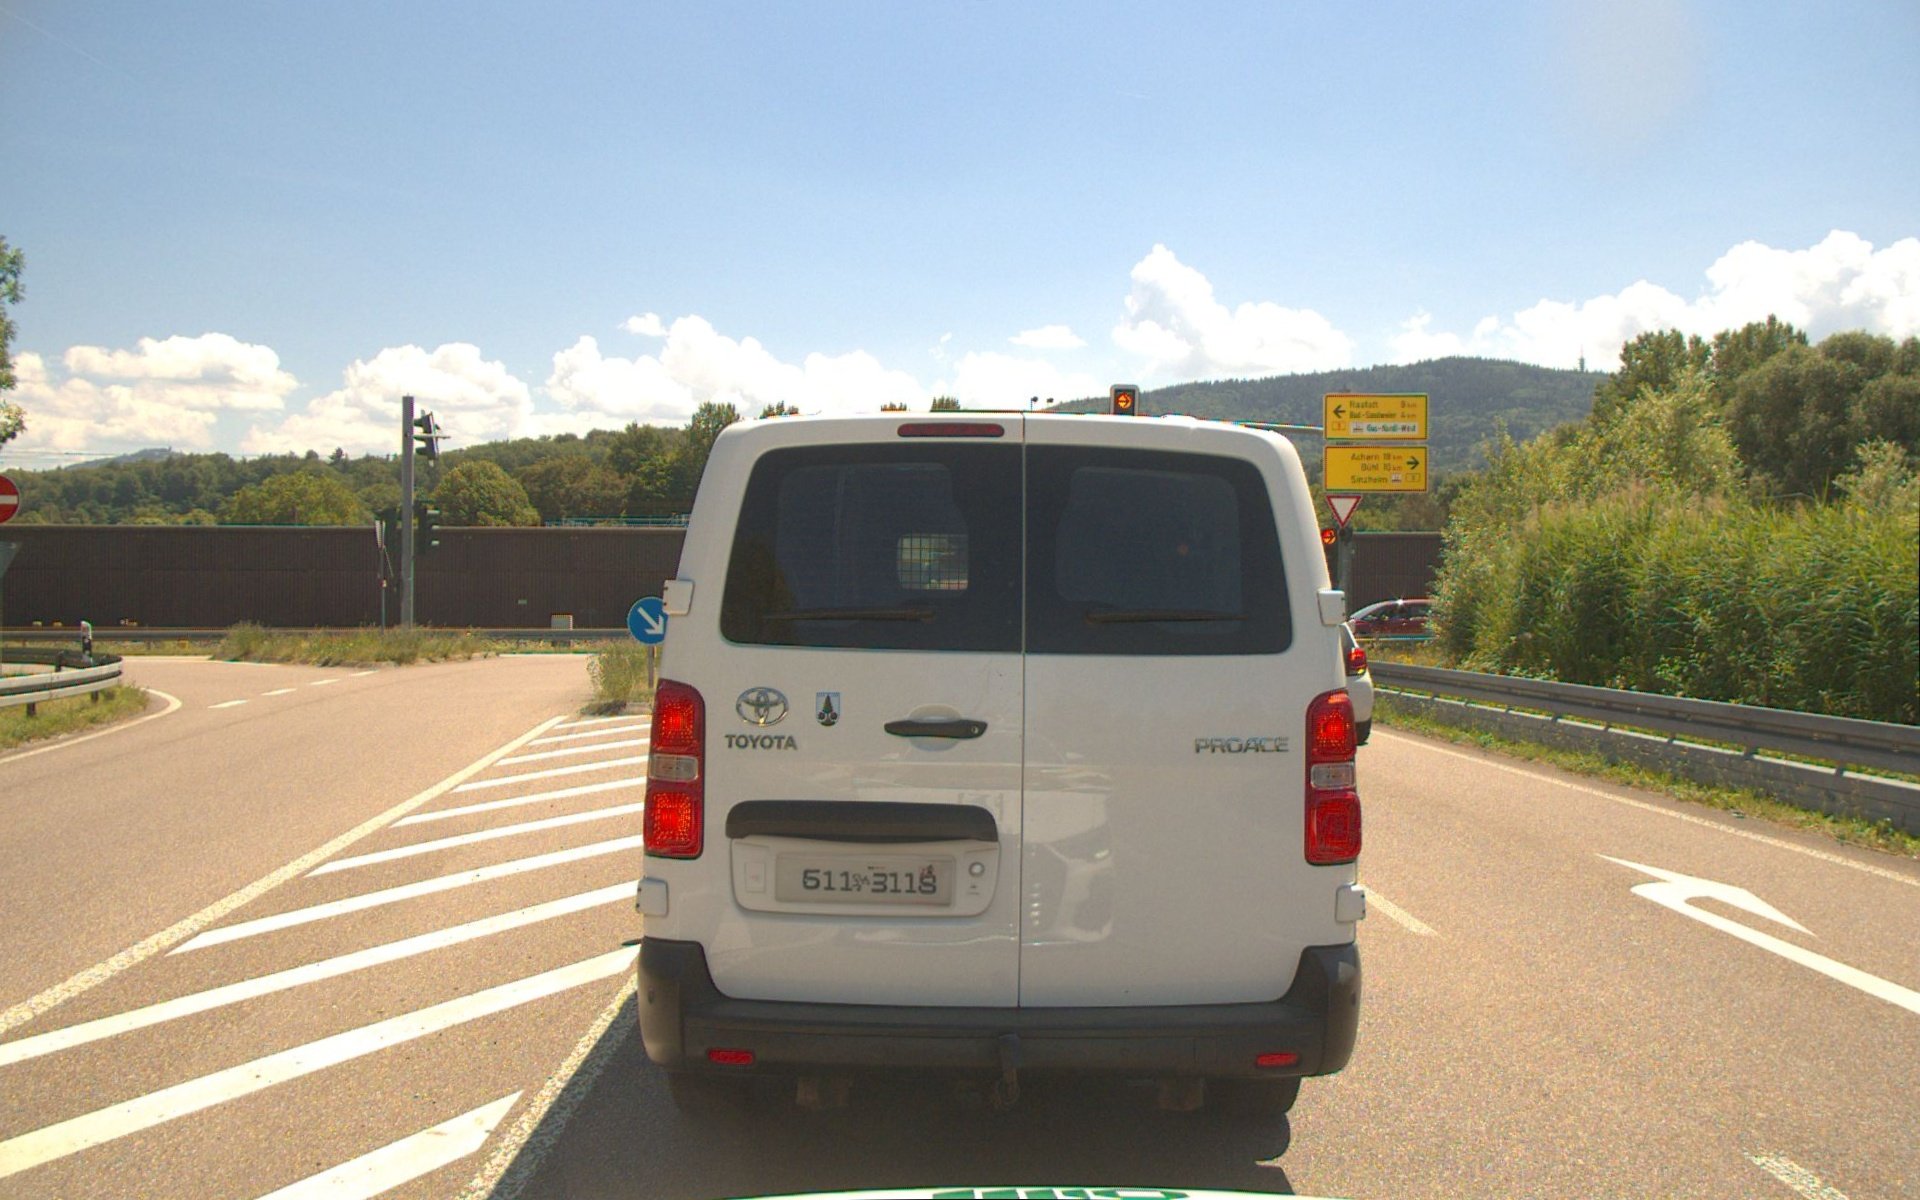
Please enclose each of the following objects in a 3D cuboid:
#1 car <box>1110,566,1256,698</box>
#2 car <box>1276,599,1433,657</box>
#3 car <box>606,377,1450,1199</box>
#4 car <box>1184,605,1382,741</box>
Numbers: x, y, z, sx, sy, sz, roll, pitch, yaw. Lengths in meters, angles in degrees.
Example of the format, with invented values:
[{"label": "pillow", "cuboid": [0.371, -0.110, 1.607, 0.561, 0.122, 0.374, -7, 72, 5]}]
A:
[{"label": "car", "cuboid": [3.709, 0.504, 28.274, 1.889, 2.035, 4.838, 1, 0, 1]}, {"label": "car", "cuboid": [11.885, 0.845, 50.018, 4.225, 1.685, 1.998, 0, 0, -4]}, {"label": "car", "cuboid": [0.114, 0.488, 5.660, 1.848, 1.919, 3.999, 1, 0, -1]}, {"label": "car", "cuboid": [3.744, 0.798, 19.690, 1.622, 1.456, 3.364, 1, 0, -1]}]
